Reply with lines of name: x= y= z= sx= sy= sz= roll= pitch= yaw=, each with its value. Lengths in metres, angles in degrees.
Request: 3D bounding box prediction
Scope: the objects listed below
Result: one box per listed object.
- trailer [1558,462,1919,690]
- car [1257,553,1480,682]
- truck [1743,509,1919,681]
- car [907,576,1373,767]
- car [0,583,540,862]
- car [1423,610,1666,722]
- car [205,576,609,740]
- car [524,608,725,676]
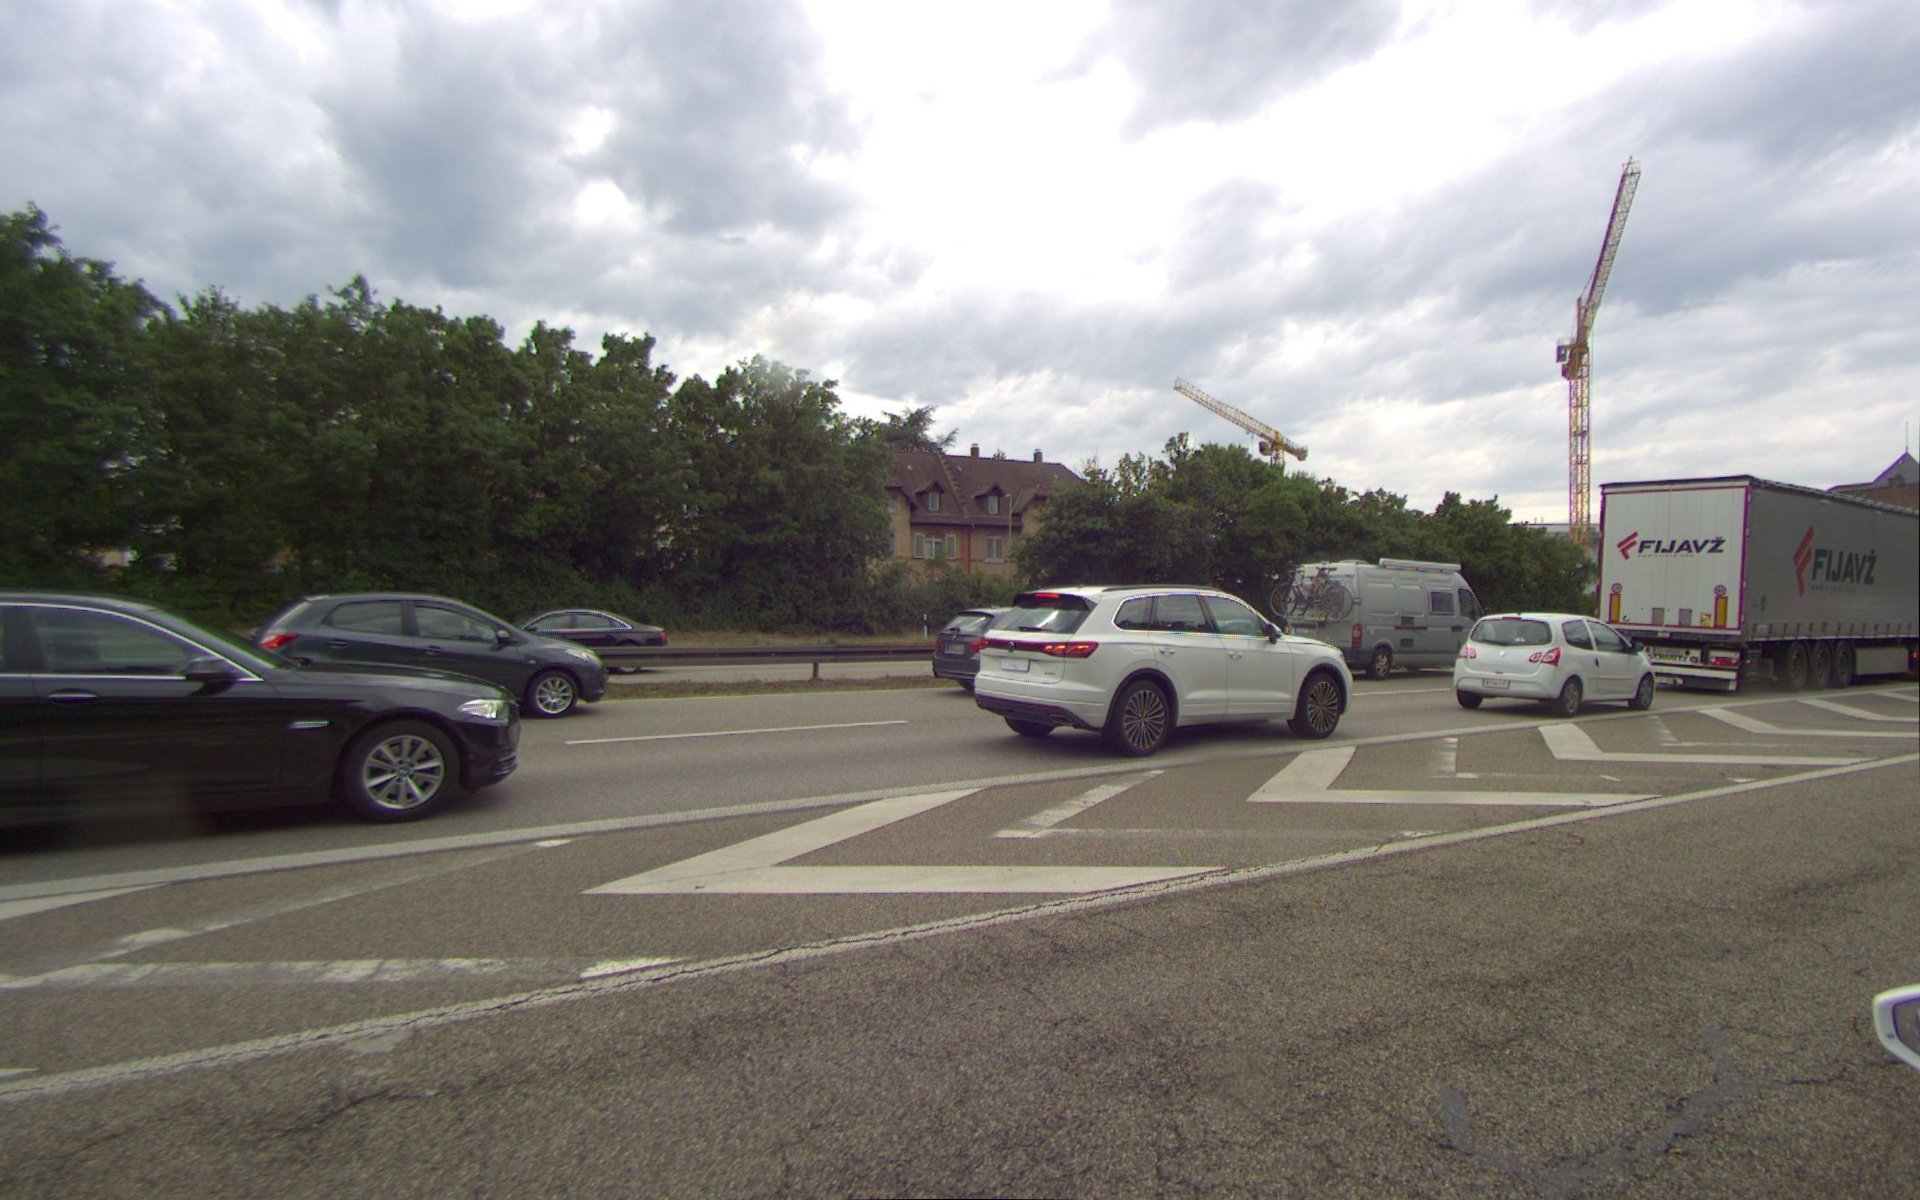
trailer: x=18.679 y=-0.288 z=23.010 sx=12.961 sy=4.090 sz=3.278 roll=2 pitch=0 yaw=-34
car: x=9.182 y=0.394 z=22.422 sx=5.305 sy=2.587 sz=1.982 roll=1 pitch=-1 yaw=-34
truck: x=24.138 y=-0.044 z=26.634 sx=6.999 sy=4.000 sz=3.180 roll=2 pitch=0 yaw=-34
car: x=2.175 y=0.669 z=11.168 sx=5.325 sy=1.682 sz=1.898 roll=1 pitch=0 yaw=-35
car: x=-5.375 y=0.657 z=6.311 sx=4.781 sy=1.479 sz=1.836 roll=2 pitch=0 yaw=-34
car: x=9.003 y=0.930 z=15.374 sx=3.992 sy=1.510 sz=1.569 roll=1 pitch=-1 yaw=-32
car: x=-6.391 y=0.606 z=11.832 sx=3.963 sy=1.633 sz=1.633 roll=1 pitch=-1 yaw=-37
car: x=-7.925 y=0.938 z=23.815 sx=4.167 sy=1.467 sz=1.981 roll=1 pitch=-1 yaw=-34
